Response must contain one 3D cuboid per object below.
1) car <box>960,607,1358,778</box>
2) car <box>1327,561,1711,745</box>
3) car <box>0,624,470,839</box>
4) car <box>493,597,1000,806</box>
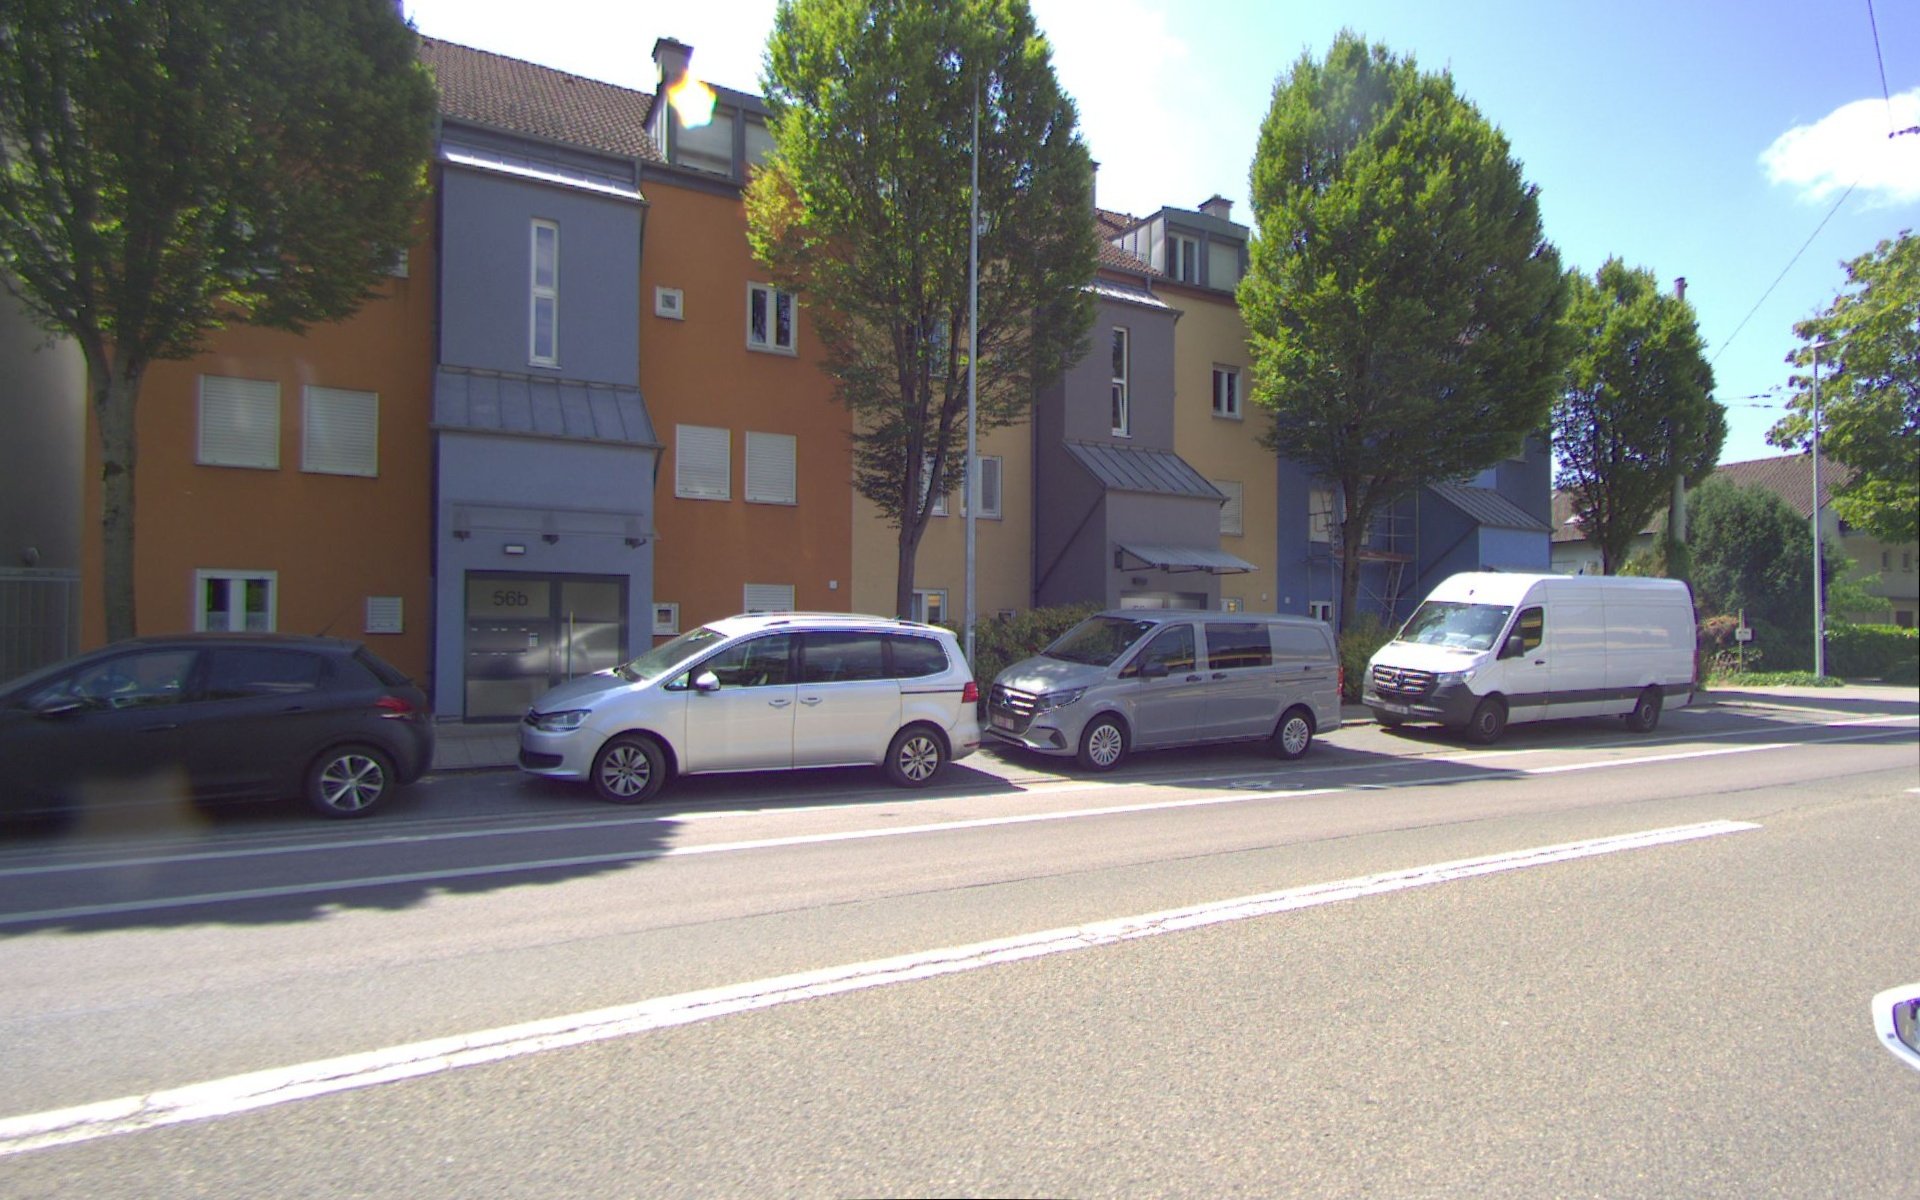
[{"bbox_3d":[2.745,1.112,13.352,5.296,1.920,1.799,1,-2,-29],"label":"car"},{"bbox_3d":[9.823,0.817,17.463,6.946,2.687,2.314,1,2,-28],"label":"car"},{"bbox_3d":[-6.339,0.980,8.210,4.042,1.490,1.590,3,-2,-32],"label":"car"},{"bbox_3d":[-2.121,0.960,10.455,4.843,1.775,1.709,3,-1,-28],"label":"car"}]
